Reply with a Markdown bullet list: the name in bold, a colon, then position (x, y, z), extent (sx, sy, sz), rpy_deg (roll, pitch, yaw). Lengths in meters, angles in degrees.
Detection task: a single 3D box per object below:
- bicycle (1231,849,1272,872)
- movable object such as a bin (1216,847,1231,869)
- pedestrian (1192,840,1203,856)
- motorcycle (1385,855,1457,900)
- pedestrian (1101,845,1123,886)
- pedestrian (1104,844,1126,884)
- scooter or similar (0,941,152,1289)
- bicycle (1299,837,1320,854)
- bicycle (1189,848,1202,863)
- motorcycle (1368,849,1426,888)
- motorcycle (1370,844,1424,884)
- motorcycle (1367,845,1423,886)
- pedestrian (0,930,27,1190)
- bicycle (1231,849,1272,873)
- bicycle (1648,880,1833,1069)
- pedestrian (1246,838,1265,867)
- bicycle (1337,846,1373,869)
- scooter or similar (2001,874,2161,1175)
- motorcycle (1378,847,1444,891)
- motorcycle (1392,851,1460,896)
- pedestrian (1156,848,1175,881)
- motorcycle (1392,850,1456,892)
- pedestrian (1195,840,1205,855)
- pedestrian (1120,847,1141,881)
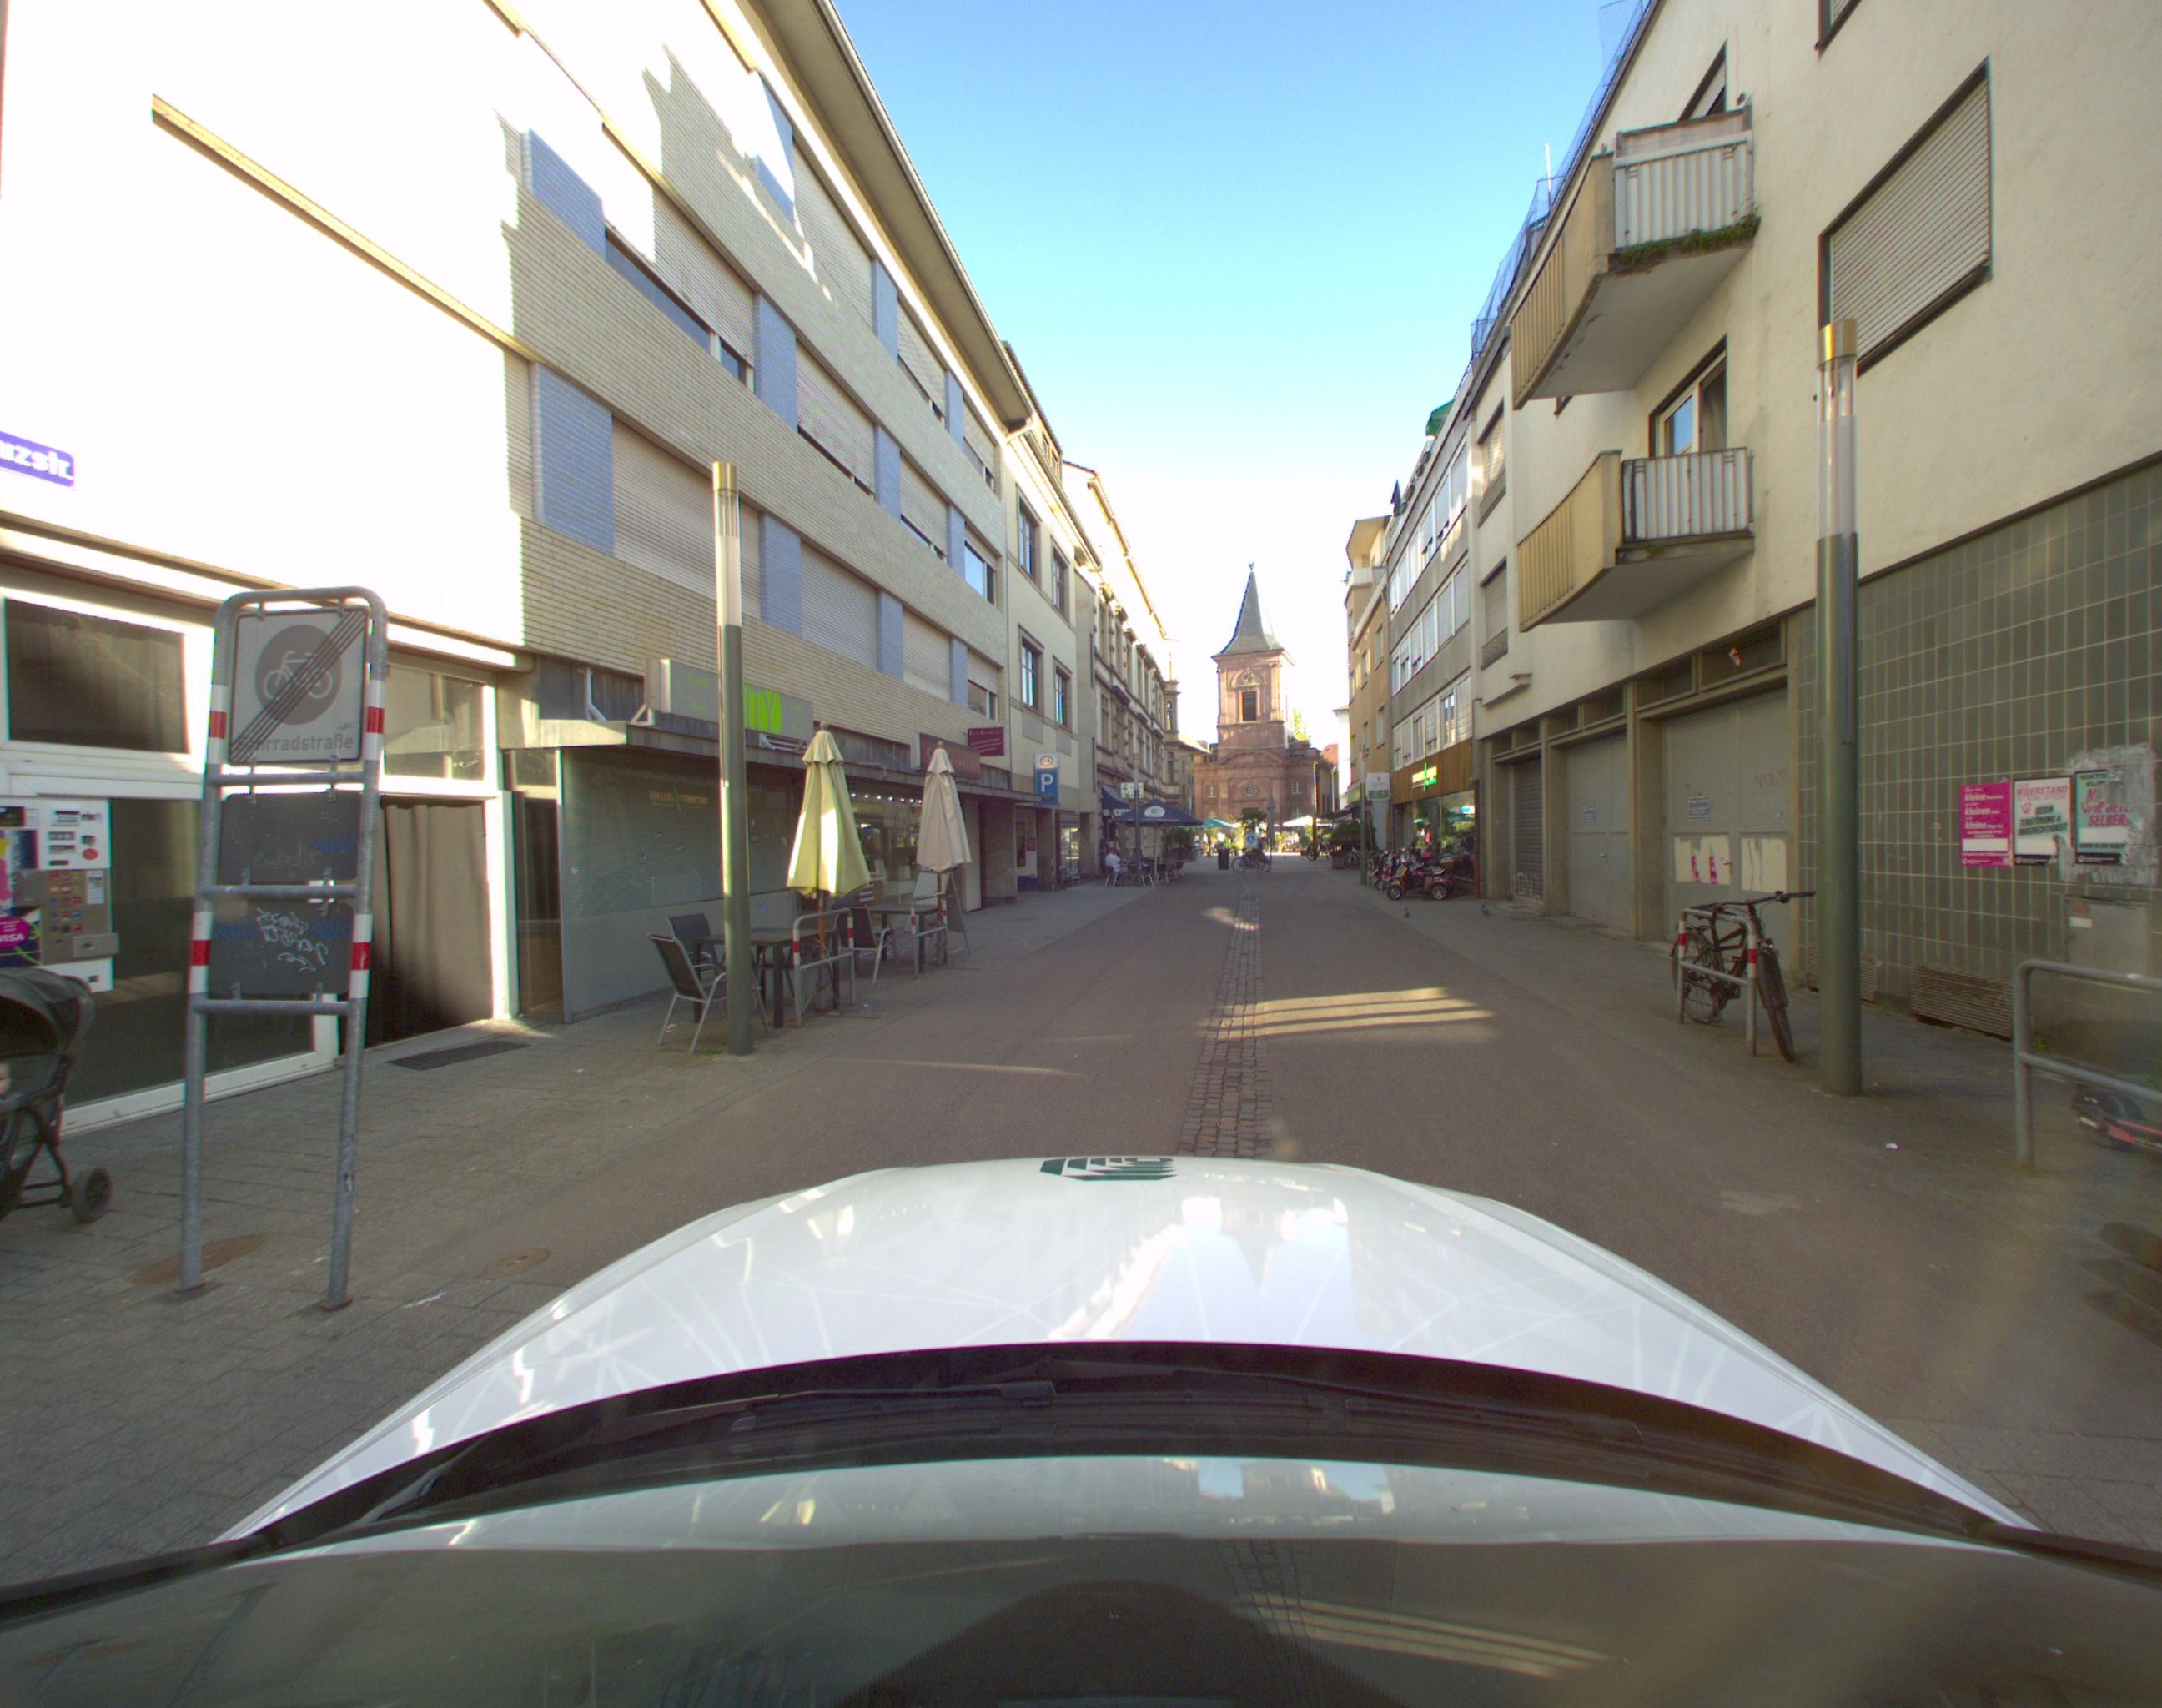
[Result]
- **bicycle**: position (7.814, 0.308, 37.379), extent (1.813, 1.004, 0.382), rpy_deg (-1, 1, 8)
- **movable object such as a bin**: position (7.122, 0.197, 40.611), extent (0.717, 1.074, 0.375), rpy_deg (-1, 1, 10)
- **pedestrian**: position (9.145, -0.446, 63.852), extent (0.695, 1.218, 0.723), rpy_deg (-1, 1, 18)
- **motorcycle**: position (8.198, 0.573, 19.642), extent (1.549, 1.041, 0.375), rpy_deg (-1, 0, 30)
- **pedestrian**: position (1.065, 0.377, 27.857), extent (0.705, 1.368, 0.720), rpy_deg (-1, 1, 0)
- **pedestrian**: position (1.200, 0.343, 28.808), extent (0.715, 1.368, 0.710), rpy_deg (-1, 1, 0)
- **scooter or similar**: position (-4.364, 0.992, 3.144), extent (0.803, 1.143, 0.943), rpy_deg (-2, 2, -36)
- **bicycle**: position (17.299, -0.650, 61.683), extent (1.590, 1.308, 0.363), rpy_deg (-1, 1, -17)
- **bicycle**: position (7.001, 0.079, 49.777), extent (0.453, 0.849, 2.155), rpy_deg (-1, 1, 15)
- **motorcycle**: position (9.073, 0.418, 23.381), extent (1.469, 1.075, 0.415), rpy_deg (-1, 0, 30)
- **motorcycle**: position (9.747, 0.310, 25.137), extent (1.470, 1.181, 0.415), rpy_deg (-2, 0, 27)
- **motorcycle**: position (9.287, 0.333, 24.097), extent (1.470, 1.181, 0.415), rpy_deg (-2, 0, 27)
- **pedestrian**: position (-5.274, 0.662, 3.499), extent (0.663, 1.819, 0.564), rpy_deg (-5, 4, -37)
- **bicycle**: position (7.736, 0.317, 37.000), extent (1.813, 1.004, 0.382), rpy_deg (-1, 1, 8)
- **bicycle**: position (4.784, 0.792, 6.032), extent (0.443, 1.140, 1.717), rpy_deg (-1, 0, 17)
- **pedestrian**: position (8.897, -0.091, 41.526), extent (0.877, 1.464, 0.733), rpy_deg (-1, 1, 12)
- **bicycle**: position (12.064, 0.149, 35.854), extent (1.451, 1.004, 0.576), rpy_deg (-1, 1, 19)
- **scooter or similar**: position (4.768, 0.741, 3.528), extent (0.305, 1.252, 1.242), rpy_deg (-1, 0, 9)
- **motorcycle**: position (9.134, 0.424, 22.581), extent (1.609, 1.175, 0.483), rpy_deg (-1, 0, 30)
- **motorcycle**: position (8.601, 0.484, 20.310), extent (1.502, 1.075, 0.415), rpy_deg (-1, 0, 30)
- **pedestrian**: position (3.233, 0.397, 31.151), extent (0.689, 1.215, 0.584), rpy_deg (-1, 1, 4)
- **motorcycle**: position (8.966, 0.444, 21.285), extent (1.469, 1.075, 0.415), rpy_deg (-1, 0, 30)
- **pedestrian**: position (9.547, -0.539, 65.234), extent (0.695, 1.218, 0.723), rpy_deg (-1, 1, 18)
- **pedestrian**: position (1.877, 0.357, 30.707), extent (0.761, 1.233, 0.832), rpy_deg (-1, 1, 4)
